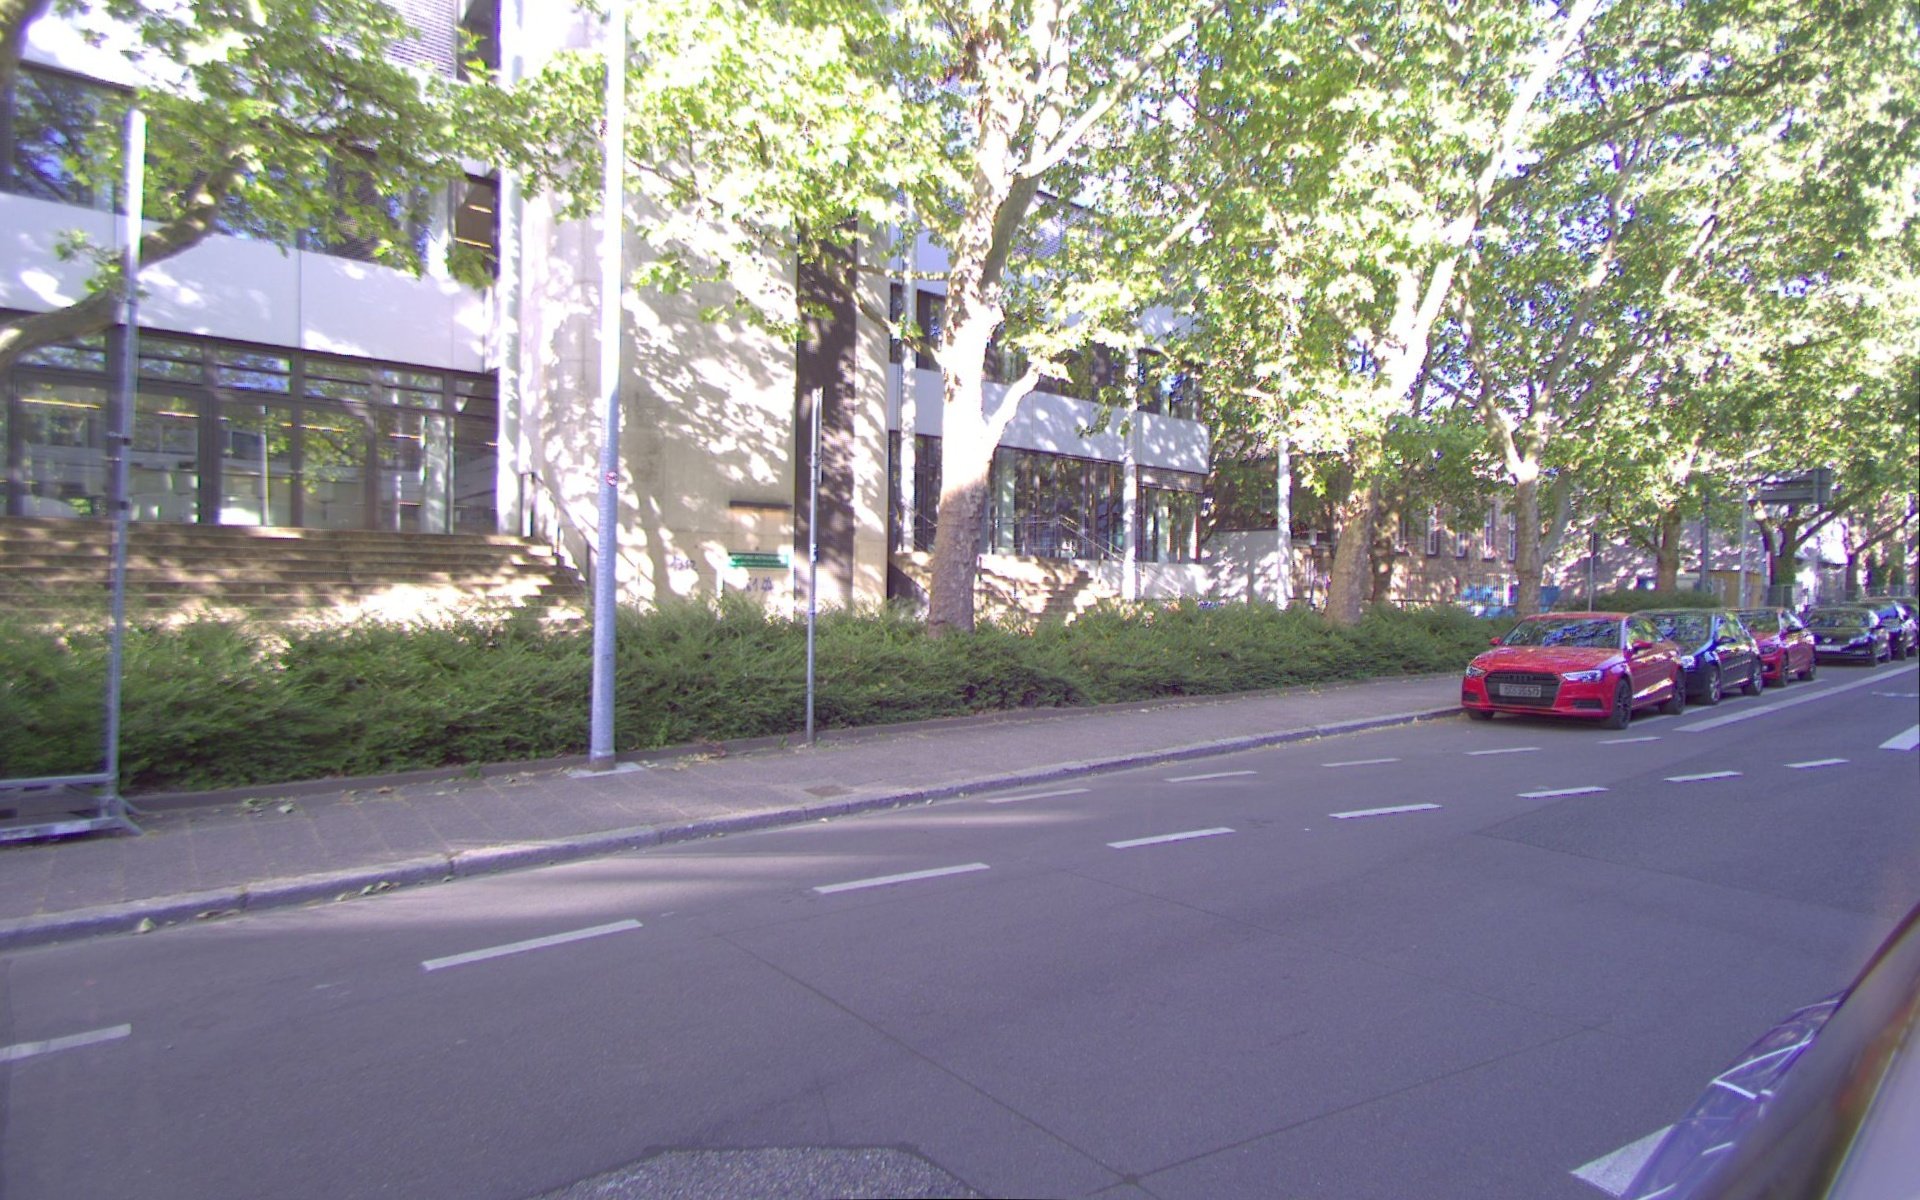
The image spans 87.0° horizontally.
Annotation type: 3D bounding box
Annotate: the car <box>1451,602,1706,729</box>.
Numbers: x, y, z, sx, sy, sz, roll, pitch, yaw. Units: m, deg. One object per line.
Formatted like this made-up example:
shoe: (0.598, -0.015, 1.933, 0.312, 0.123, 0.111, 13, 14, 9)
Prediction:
car: (8.358, 0.755, 13.538, 4.092, 1.431, 1.815, 0, -1, -42)

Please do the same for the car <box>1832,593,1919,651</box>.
car: (26.594, 0.590, 29.123, 4.092, 1.573, 1.788, 0, -1, -42)

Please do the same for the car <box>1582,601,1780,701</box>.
car: (11.951, 0.740, 16.677, 4.092, 1.431, 1.815, 0, -1, -42)

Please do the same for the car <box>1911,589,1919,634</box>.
car: (39.625, 0.440, 40.392, 4.475, 1.777, 2.040, 0, -1, -42)

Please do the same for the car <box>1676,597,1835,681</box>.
car: (15.857, 0.702, 20.098, 4.092, 1.502, 1.815, 0, -1, -42)

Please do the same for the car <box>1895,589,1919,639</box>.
car: (35.908, 0.485, 37.241, 4.475, 1.777, 1.788, 0, -1, -42)

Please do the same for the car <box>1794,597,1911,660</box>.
car: (23.049, 0.681, 26.091, 4.092, 1.478, 1.788, 0, -1, -42)

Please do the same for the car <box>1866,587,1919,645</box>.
car: (31.055, 0.490, 33.006, 4.271, 1.777, 1.788, 0, -1, -42)
